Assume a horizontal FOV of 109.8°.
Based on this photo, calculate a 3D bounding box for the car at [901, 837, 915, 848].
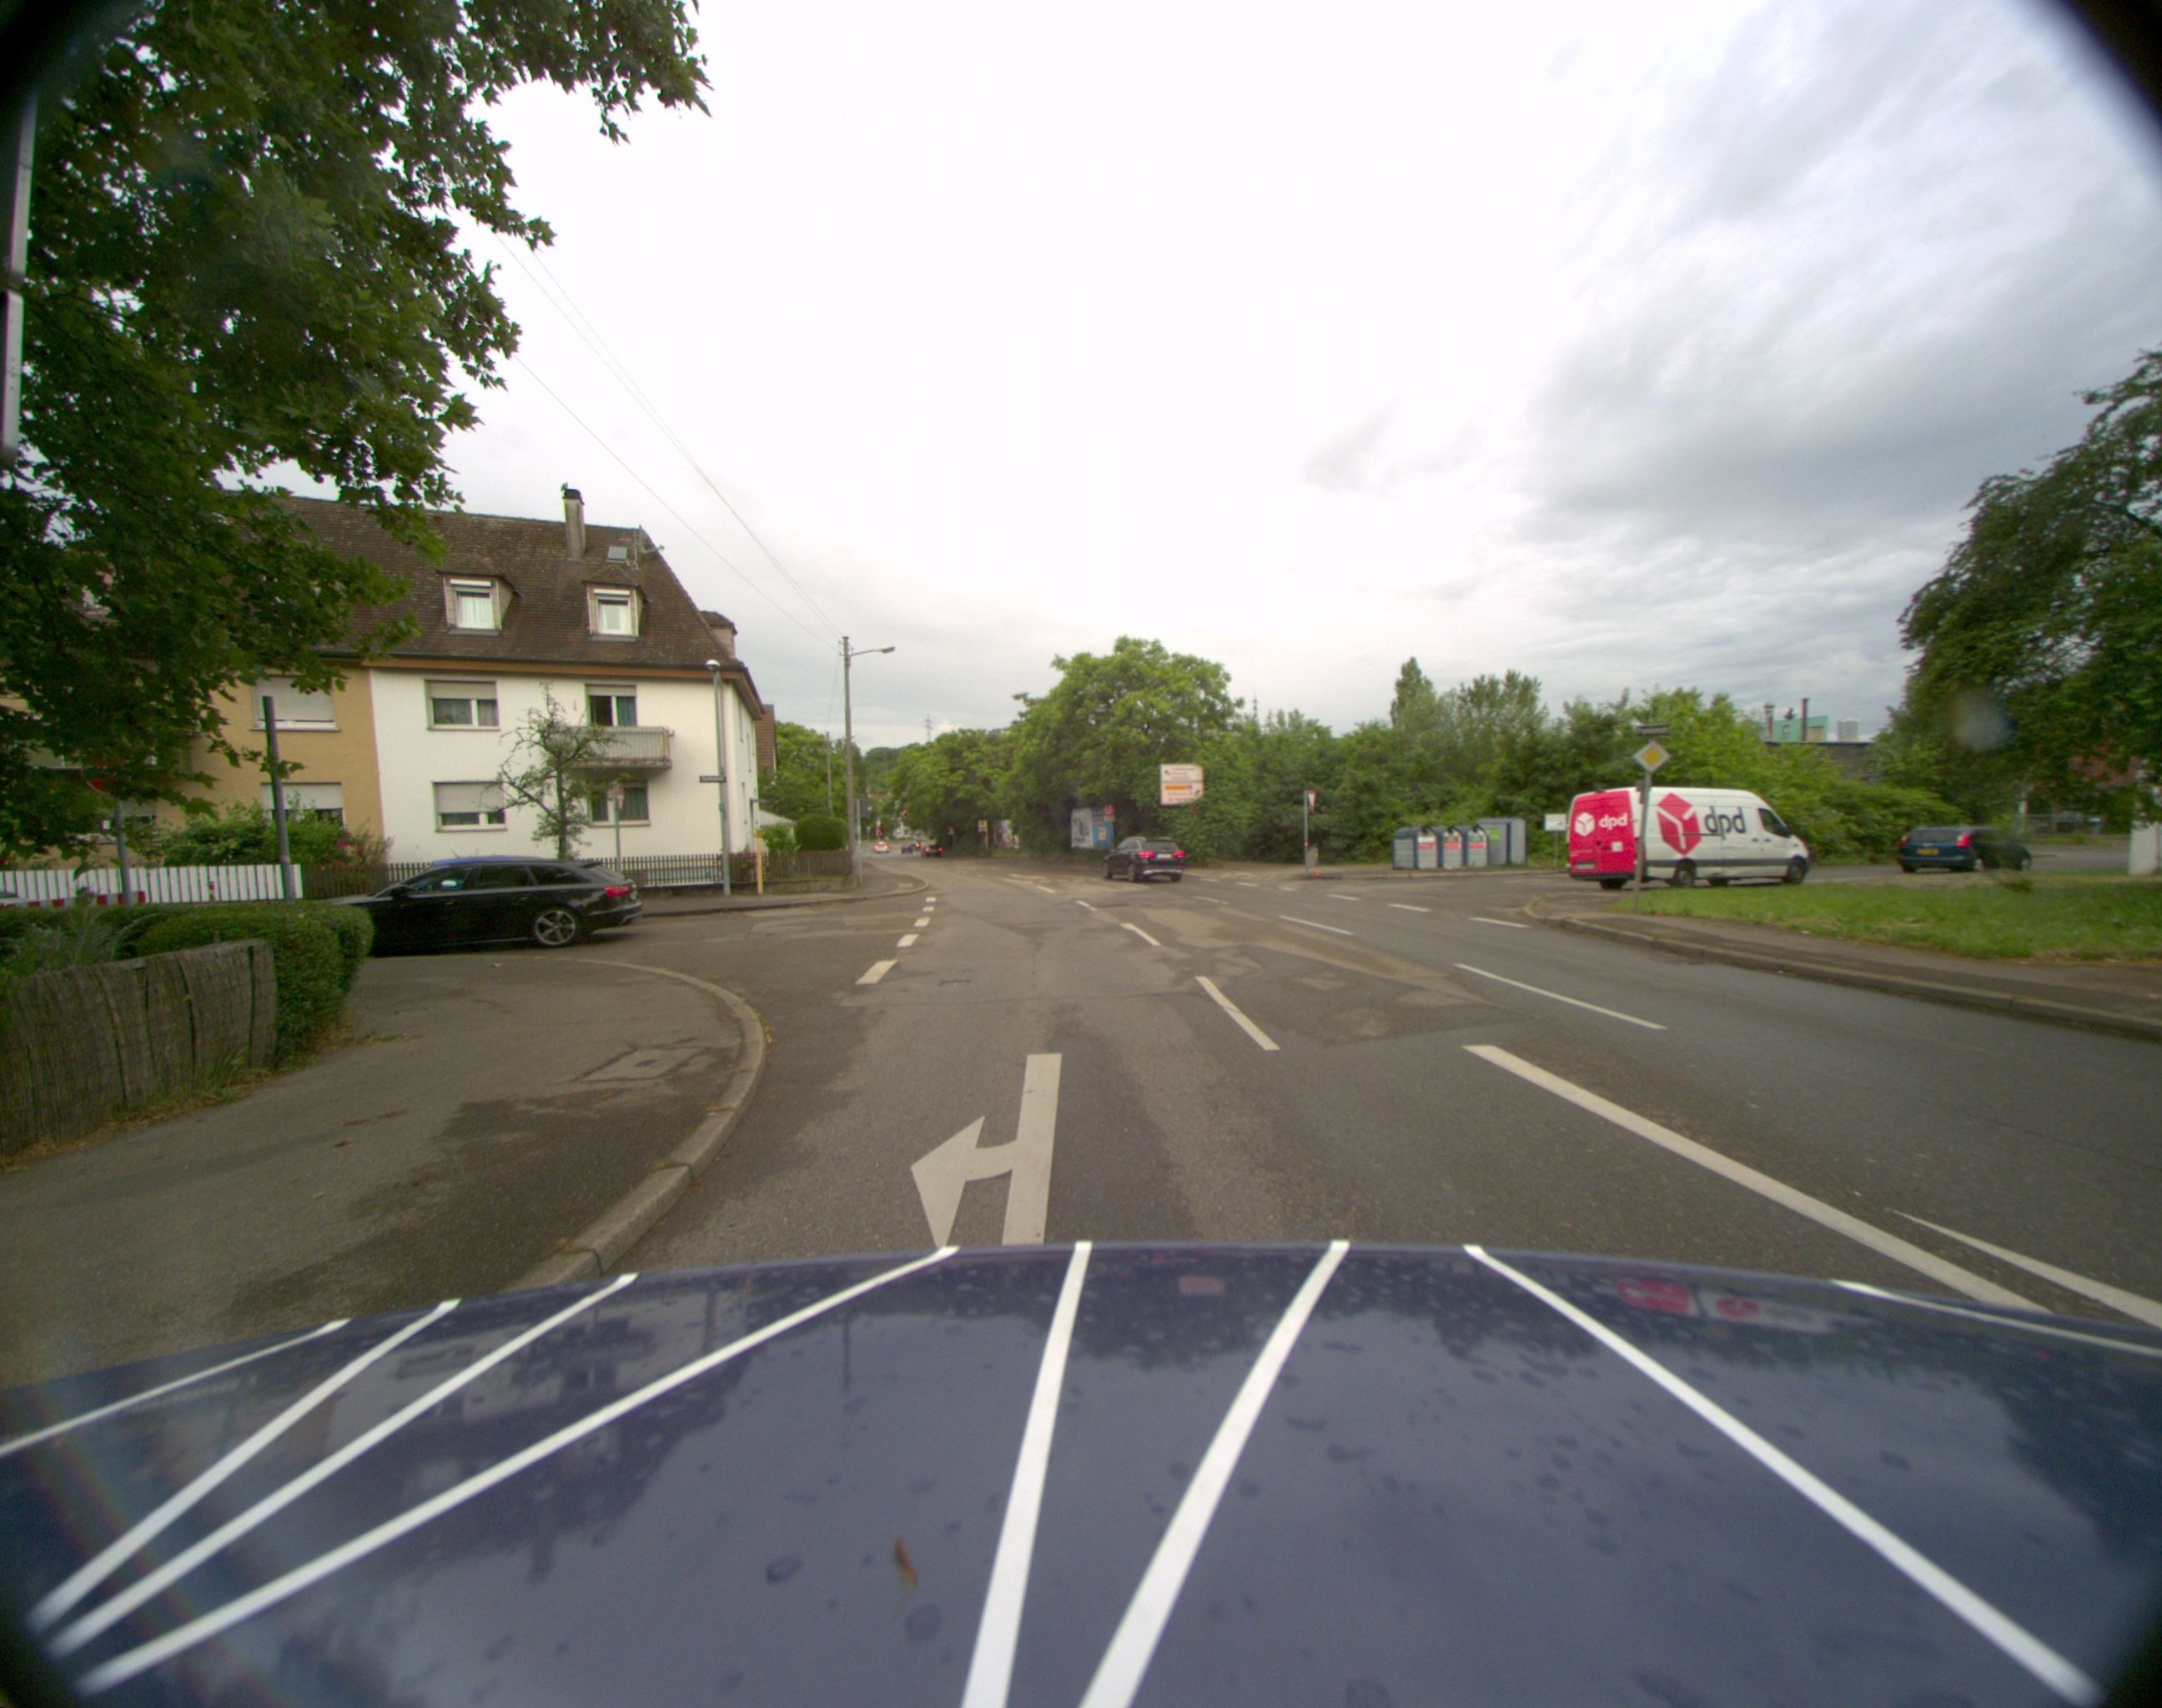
[{"bbox_3d":[-25.127,-1.651,110.336,1.604,1.418,3.689,0,3,-20],"label":"car"}]

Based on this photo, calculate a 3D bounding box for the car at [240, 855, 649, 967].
[{"bbox_3d":[-10.060,0.809,12.610,4.824,1.472,1.882,-1,1,-24],"label":"car"}]

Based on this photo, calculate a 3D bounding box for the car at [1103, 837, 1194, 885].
[{"bbox_3d":[2.410,0.215,28.516,1.922,1.617,4.428,-2,1,-16],"label":"car"}]

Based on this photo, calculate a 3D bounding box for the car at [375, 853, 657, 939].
[{"bbox_3d":[-11.128,0.758,15.349,4.130,1.472,1.883,-1,1,-17],"label":"car"}]

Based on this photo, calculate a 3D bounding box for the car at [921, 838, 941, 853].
[{"bbox_3d":[-16.608,-0.914,84.163,1.849,1.560,4.406,-2,1,-15],"label":"car"}]

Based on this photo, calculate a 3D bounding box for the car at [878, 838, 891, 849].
[{"bbox_3d":[-31.147,-1.729,120.730,1.838,1.570,4.327,-3,2,-14],"label":"car"}]

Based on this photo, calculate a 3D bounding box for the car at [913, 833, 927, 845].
[{"bbox_3d":[-27.623,-2.524,130.396,1.965,1.920,4.675,-2,1,-17],"label":"car"}]

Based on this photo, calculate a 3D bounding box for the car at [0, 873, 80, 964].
[{"bbox_3d":[-19.477,1.117,12.155,3.788,1.445,1.769,-2,1,-20],"label":"car"}]

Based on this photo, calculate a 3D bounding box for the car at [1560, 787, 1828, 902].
[{"bbox_3d":[16.159,-0.354,20.028,6.829,2.641,2.258,-2,2,-20],"label":"car"}]

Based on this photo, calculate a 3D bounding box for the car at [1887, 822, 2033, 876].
[{"bbox_3d":[30.137,-0.211,26.073,4.257,1.620,1.996,-3,2,-22],"label":"car"}]
